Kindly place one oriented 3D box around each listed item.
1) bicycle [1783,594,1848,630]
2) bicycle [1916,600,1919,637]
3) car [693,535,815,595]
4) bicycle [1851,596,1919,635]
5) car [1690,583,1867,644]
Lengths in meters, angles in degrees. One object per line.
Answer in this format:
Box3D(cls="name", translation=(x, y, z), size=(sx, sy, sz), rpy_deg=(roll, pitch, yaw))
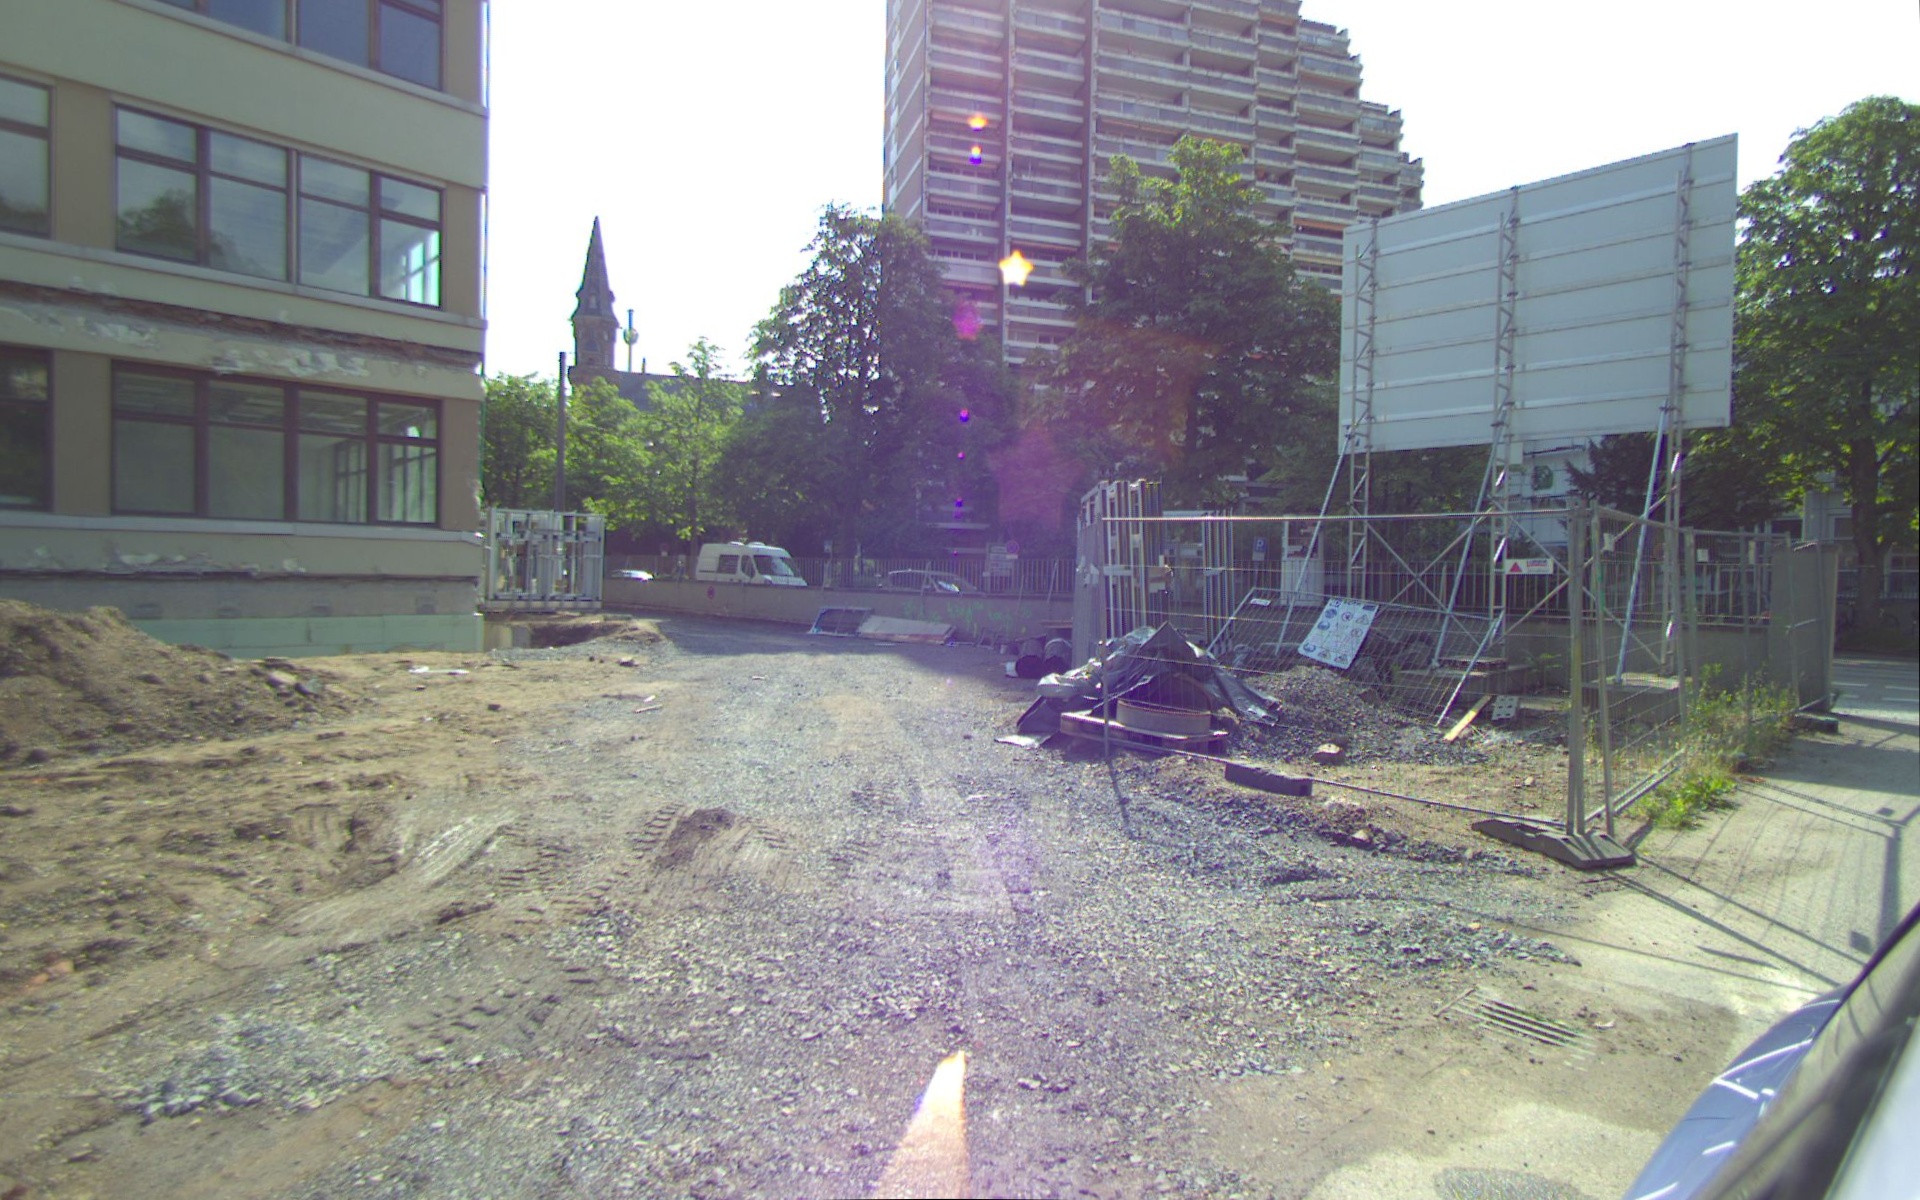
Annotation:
Box3D(cls="bicycle", translation=(28.419, 0.398, 33.603), size=(2.013, 1.101, 0.498), rpy_deg=(-3, -2, -14))
Box3D(cls="bicycle", translation=(29.750, 0.499, 30.345), size=(2.013, 1.101, 0.498), rpy_deg=(-3, -2, -14))
Box3D(cls="car", translation=(-7.588, -1.217, 36.828), size=(1.966, 2.039, 5.299), rpy_deg=(0, 0, -42))
Box3D(cls="bicycle", translation=(29.061, 0.484, 31.772), size=(2.013, 1.101, 0.498), rpy_deg=(-3, -2, -14))
Box3D(cls="car", translation=(22.570, 0.383, 28.123), size=(1.728, 1.481, 3.995), rpy_deg=(-3, -1, 4))
